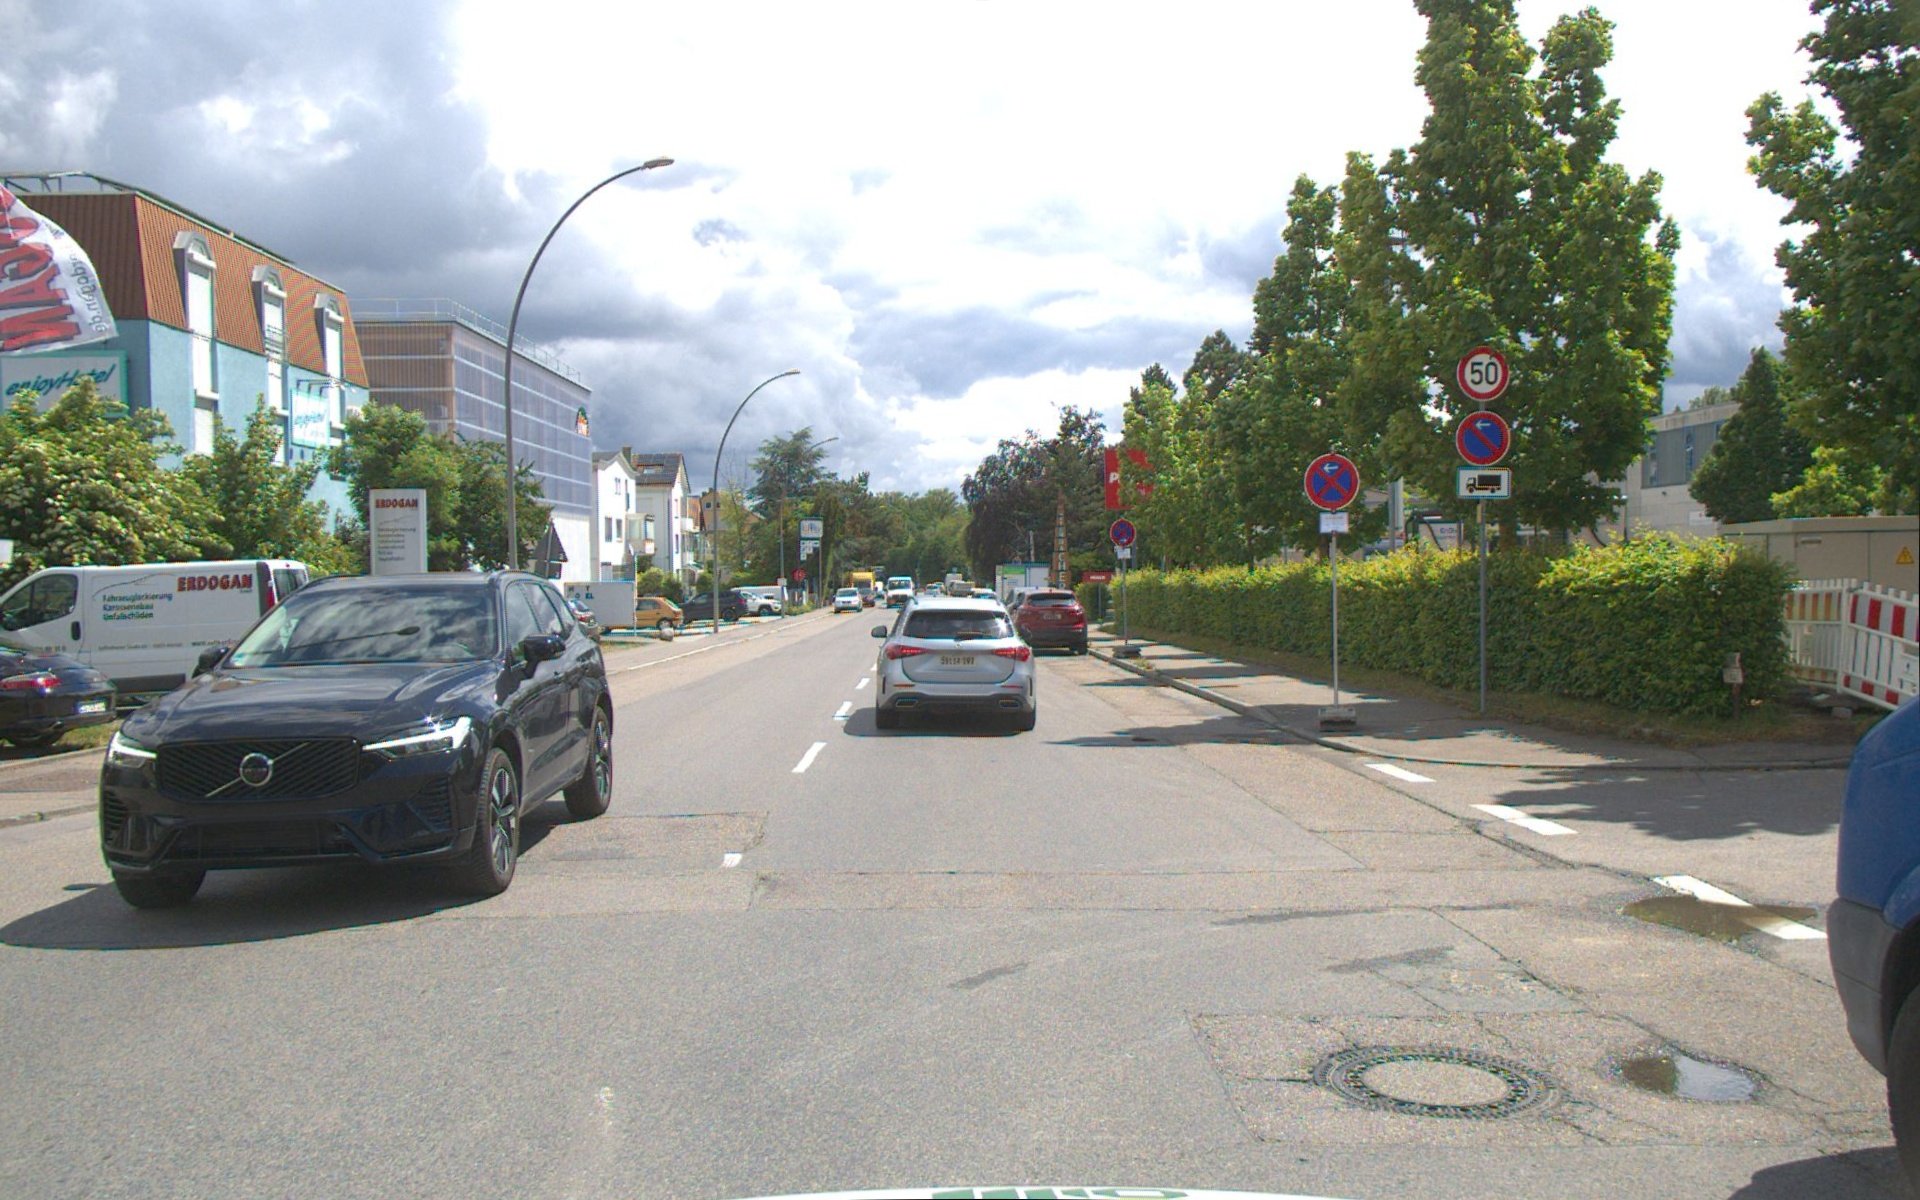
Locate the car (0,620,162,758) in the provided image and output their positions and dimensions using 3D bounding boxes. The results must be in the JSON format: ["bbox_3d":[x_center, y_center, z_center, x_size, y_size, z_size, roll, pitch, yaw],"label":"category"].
[{"bbox_3d":[-10.390,0.825,16.504,3.907,1.225,1.871,1,1,-3],"label":"car"}]

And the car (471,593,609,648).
[{"bbox_3d":[-12.459,0.598,49.249,3.553,1.559,1.980,-1,1,1],"label":"car"}]

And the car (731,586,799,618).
[{"bbox_3d":[-12.575,0.125,106.970,4.193,1.868,1.990,-1,-3,-2],"label":"car"}]

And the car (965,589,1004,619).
[{"bbox_3d":[1.303,0.196,88.912,1.756,1.475,4.360,-2,1,-3],"label":"car"}]

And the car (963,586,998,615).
[{"bbox_3d":[1.125,0.011,94.736,1.756,1.579,4.572,-2,1,-2],"label":"car"}]

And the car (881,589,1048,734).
[{"bbox_3d":[-0.056,0.635,19.575,1.749,1.510,4.314,0,1,-3],"label":"car"}]

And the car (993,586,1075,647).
[{"bbox_3d":[2.056,0.432,47.285,1.903,1.599,4.443,-1,1,-3],"label":"car"}]

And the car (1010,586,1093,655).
[{"bbox_3d":[2.279,0.464,42.068,1.901,1.599,4.446,-1,1,1],"label":"car"}]

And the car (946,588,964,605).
[{"bbox_3d":[-0.551,-0.399,173.378,1.749,1.745,4.314,0,0,-3],"label":"car"}]

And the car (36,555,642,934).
[{"bbox_3d":[-3.242,0.627,9.732,1.953,1.644,4.410,-2,1,-2],"label":"car"}]

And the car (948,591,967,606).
[{"bbox_3d":[-0.263,-0.145,166.681,1.749,1.510,4.314,0,0,-3],"label":"car"}]

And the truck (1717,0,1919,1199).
[{"bbox_3d":[3.380,-0.101,1.752,2.273,3.151,6.041,1,1,-1],"label":"truck"}]

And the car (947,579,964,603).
[{"bbox_3d":[-0.486,-1.001,185.425,1.749,2.562,4.314,0,0,-3],"label":"car"}]

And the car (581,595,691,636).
[{"bbox_3d":[-12.897,0.606,65.953,4.068,1.518,1.824,1,1,-5],"label":"car"}]

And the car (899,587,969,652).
[{"bbox_3d":[-0.711,0.465,42.878,1.720,1.585,3.999,-1,1,-2],"label":"car"}]

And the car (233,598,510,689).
[{"bbox_3d":[-10.515,0.773,29.783,4.286,1.504,1.871,-1,-1,-1],"label":"car"}]

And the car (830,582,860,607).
[{"bbox_3d":[-7.796,-0.390,112.338,1.755,1.631,4.362,-2,1,-1],"label":"car"}]

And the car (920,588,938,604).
[{"bbox_3d":[-3.201,-0.408,169.330,1.720,1.585,3.999,-1,1,-2],"label":"car"}]

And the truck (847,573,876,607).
[{"bbox_3d":[-8.690,-0.954,146.164,2.032,2.863,7.078,-2,1,0],"label":"truck"}]

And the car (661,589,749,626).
[{"bbox_3d":[-13.905,0.390,90.420,4.537,1.661,2.196,-4,1,-5],"label":"car"}]

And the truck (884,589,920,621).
[{"bbox_3d":[-4.326,0.335,124.609,2.271,2.216,6.450,-2,1,1],"label":"truck"}]

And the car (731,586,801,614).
[{"bbox_3d":[-12.271,0.021,104.667,4.193,1.594,1.990,-1,-3,-2],"label":"car"}]

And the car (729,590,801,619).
[{"bbox_3d":[-11.982,0.290,101.668,4.192,1.594,1.990,-1,-3,-1],"label":"car"}]

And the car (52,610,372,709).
[{"bbox_3d":[-11.072,0.858,24.696,3.907,1.338,1.870,-1,0,-3],"label":"car"}]

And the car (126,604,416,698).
[{"bbox_3d":[-11.175,0.800,27.005,3.904,1.379,1.872,-1,1,1],"label":"car"}]

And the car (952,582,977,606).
[{"bbox_3d":[0.398,-0.556,147.876,2.100,2.018,5.260,-1,0,-1],"label":"car"}]

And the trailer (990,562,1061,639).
[{"bbox_3d":[2.062,0.012,53.184,1.902,2.334,4.443,-1,0,-2],"label":"trailer"}]

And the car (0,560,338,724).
[{"bbox_3d":[-10.963,0.524,22.016,4.560,2.006,2.113,-1,1,-5],"label":"car"}]
